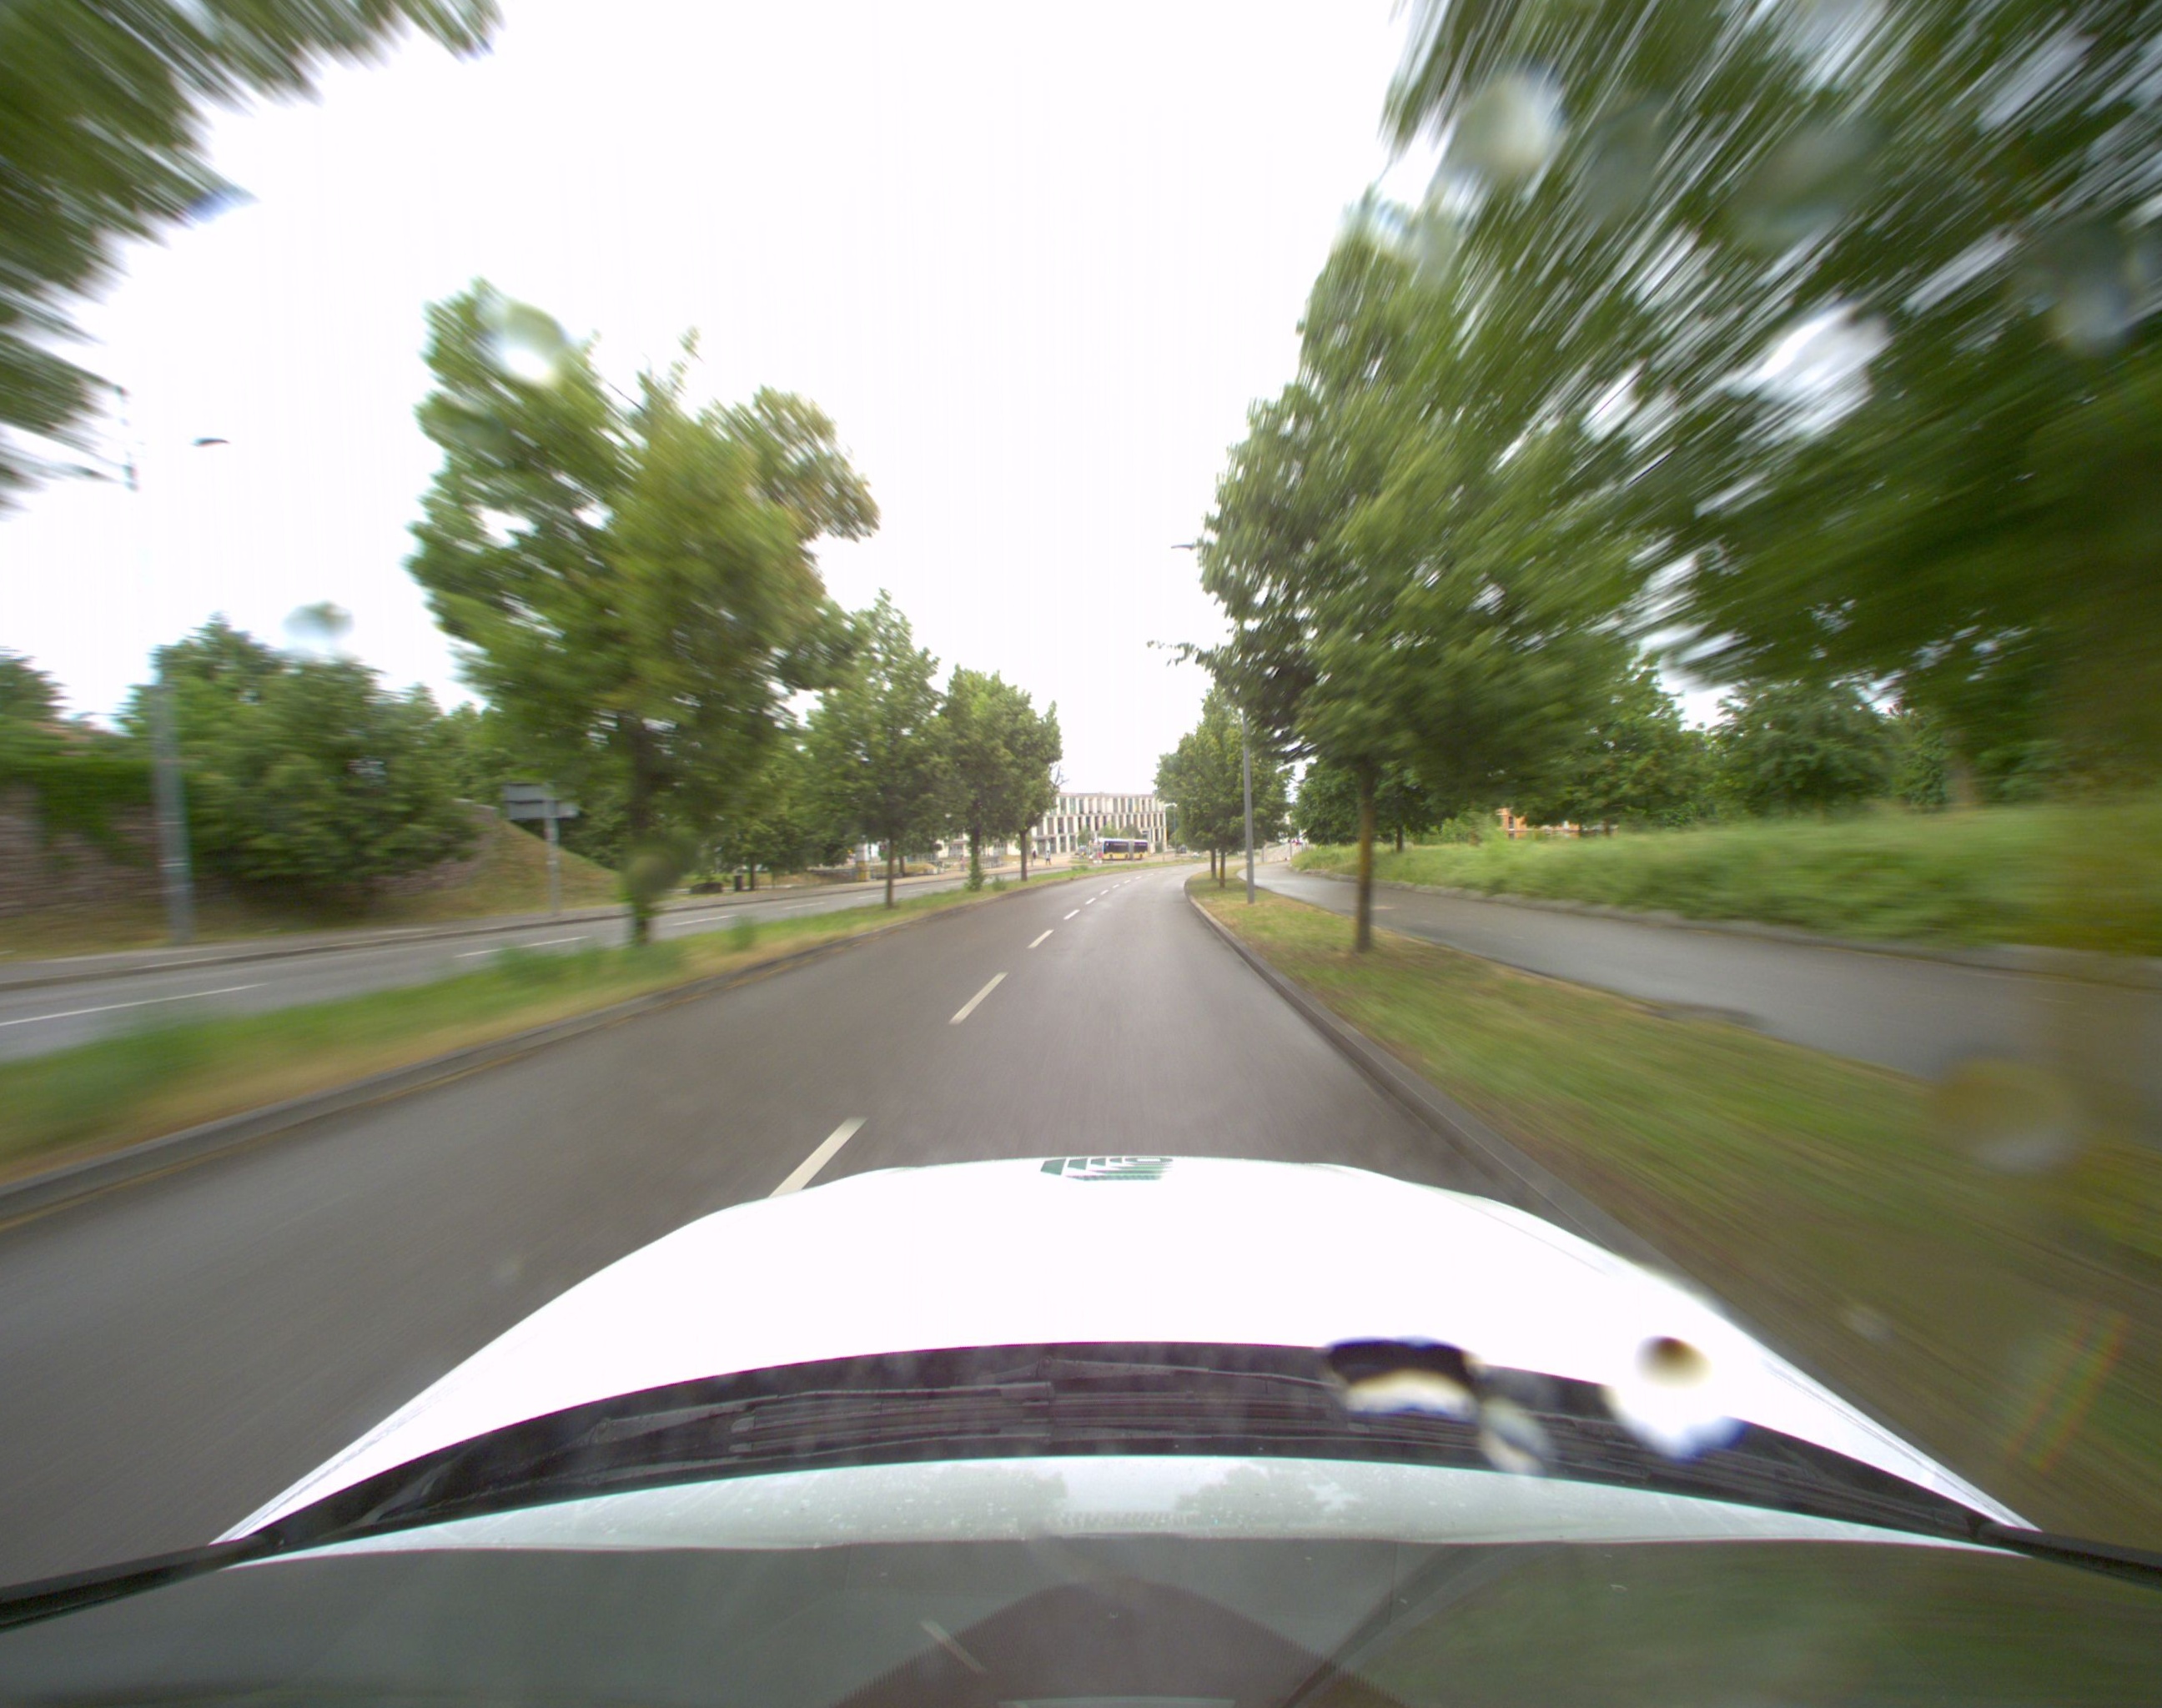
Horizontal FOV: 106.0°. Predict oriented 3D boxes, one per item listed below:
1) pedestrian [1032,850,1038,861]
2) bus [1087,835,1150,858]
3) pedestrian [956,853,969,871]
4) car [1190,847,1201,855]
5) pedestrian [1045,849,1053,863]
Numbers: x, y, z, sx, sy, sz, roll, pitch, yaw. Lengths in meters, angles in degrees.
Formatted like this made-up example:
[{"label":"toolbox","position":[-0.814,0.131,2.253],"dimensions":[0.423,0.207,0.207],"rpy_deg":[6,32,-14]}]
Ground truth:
[{"label":"pedestrian","position":[-6.535,0.192,116.253],"dimensions":[0.680,1.524,0.719],"rpy_deg":[-2,-1,1]},{"label":"bus","position":[6.260,-1.190,130.515],"dimensions":[2.759,3.357,18.334],"rpy_deg":[-2,-1,27]},{"label":"pedestrian","position":[-11.053,0.742,75.923],"dimensions":[0.808,1.621,0.938],"rpy_deg":[-2,-1,12]},{"label":"car","position":[23.898,-0.584,169.512],"dimensions":[1.465,1.494,2.545],"rpy_deg":[-2,-1,25]},{"label":"pedestrian","position":[-3.682,0.260,93.139],"dimensions":[0.833,1.573,0.718],"rpy_deg":[-2,-1,-5]}]
